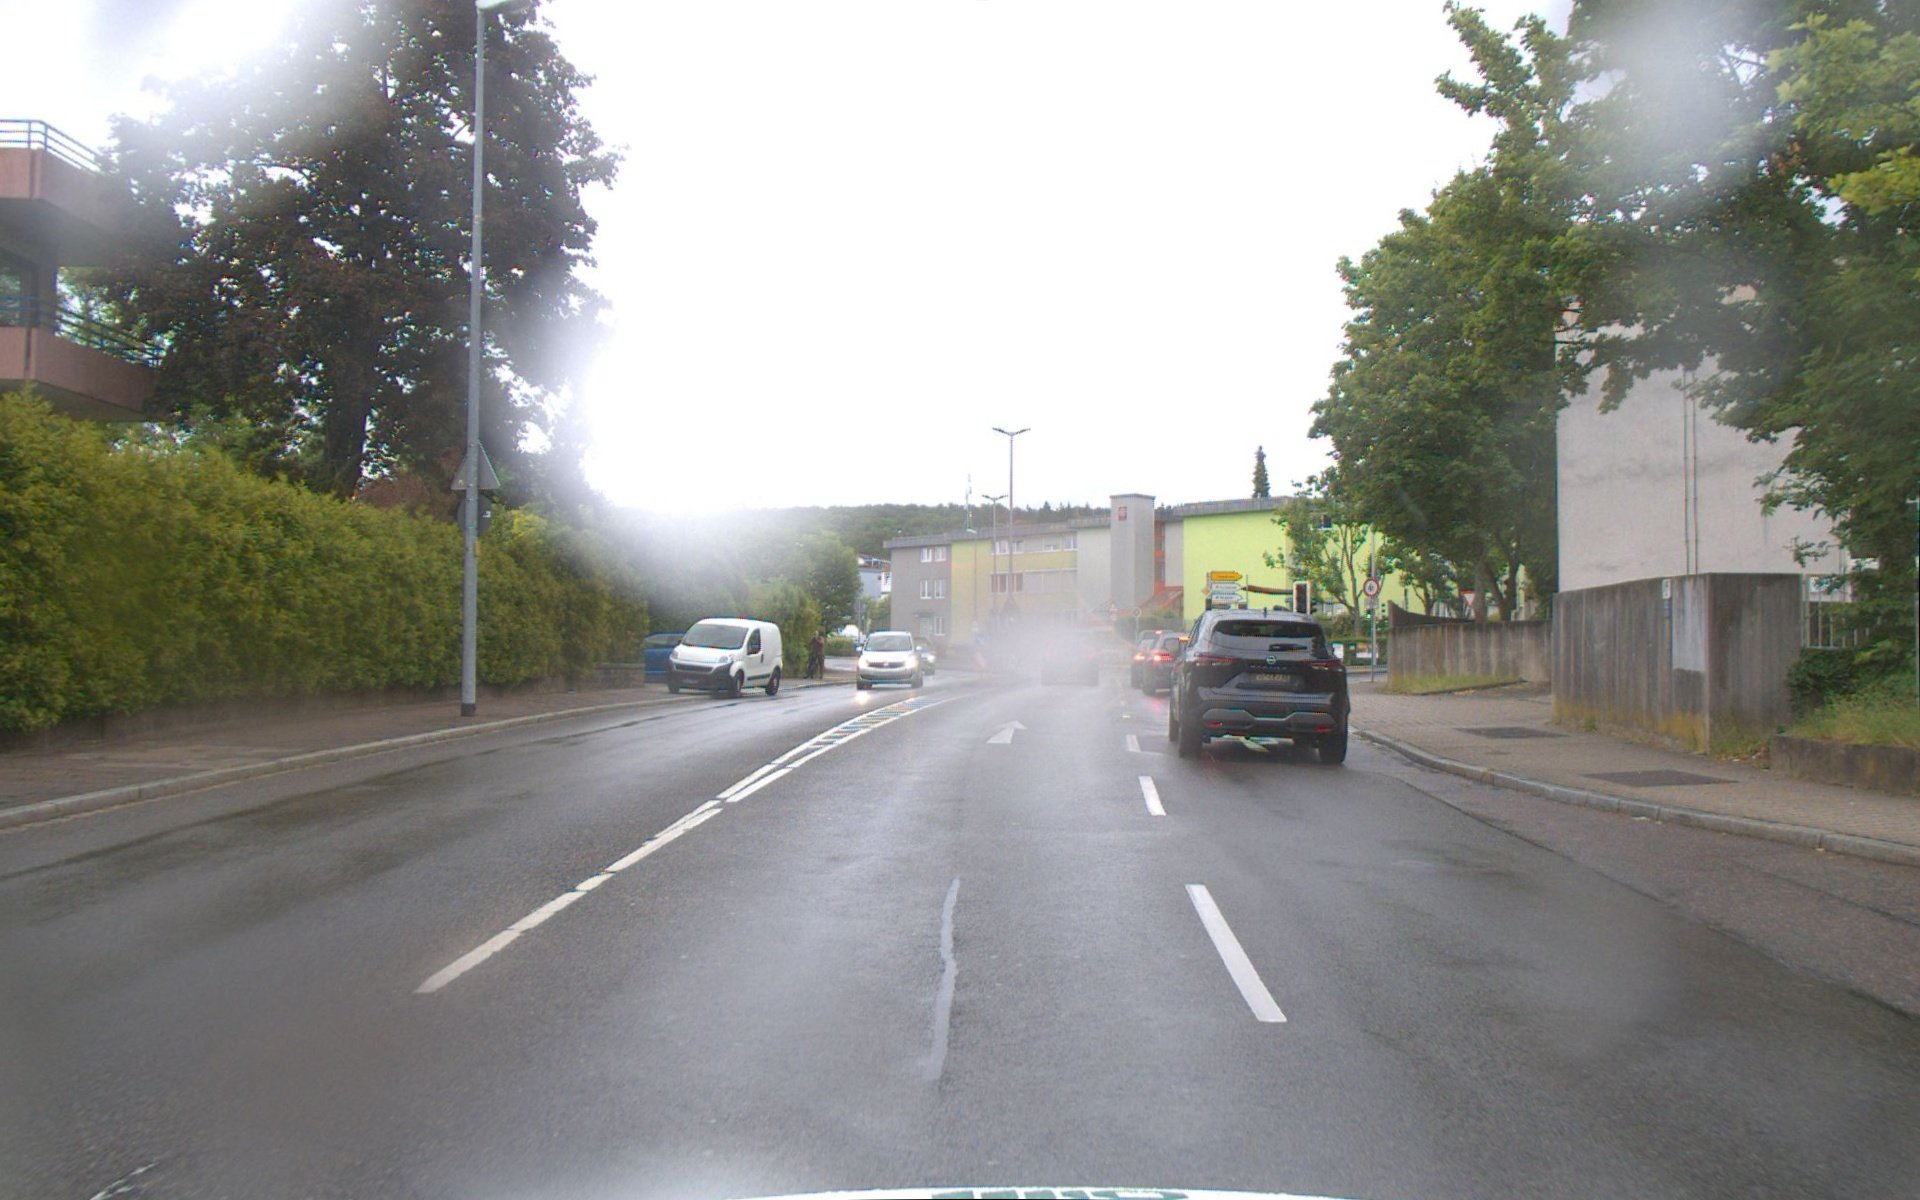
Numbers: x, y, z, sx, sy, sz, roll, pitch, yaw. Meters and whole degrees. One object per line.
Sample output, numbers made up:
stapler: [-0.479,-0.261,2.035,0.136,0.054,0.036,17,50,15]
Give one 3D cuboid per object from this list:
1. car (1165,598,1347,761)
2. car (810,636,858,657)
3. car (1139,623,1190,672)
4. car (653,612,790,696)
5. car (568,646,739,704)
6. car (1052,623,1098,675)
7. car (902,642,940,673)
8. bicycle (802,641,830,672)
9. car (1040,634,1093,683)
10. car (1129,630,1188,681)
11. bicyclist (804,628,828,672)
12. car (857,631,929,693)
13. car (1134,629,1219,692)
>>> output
car: [3.312,0.863,19.176,1.752,1.632,4.255,1,-1,6]
car: [-12.208,4.492,160.342,4.318,1.803,1.994,-2,-2,-12]
car: [7.911,1.823,64.208,1.745,1.765,4.089,1,0,5]
car: [-5.429,1.236,38.198,1.664,1.738,3.981,3,-1,14]
car: [-8.455,2.061,45.891,4.392,1.386,1.805,2,0,-2]
car: [4.374,1.848,63.062,1.681,1.877,4.088,1,-1,3]
car: [-2.252,3.363,97.061,1.999,1.746,4.481,-2,-1,1]
bicycle: [-5.338,2.104,61.463,0.731,1.105,1.990,1,-2,4]
car: [3.543,1.900,54.813,1.647,1.532,3.775,1,-1,4]
car: [6.036,1.674,50.339,1.670,1.452,4.511,-1,-2,7]
bicyclist: [-5.347,1.858,61.502,0.748,1.640,0.868,1,-2,4]
car: [-1.849,1.721,46.762,1.600,1.607,4.058,-3,-1,3]
car: [5.360,1.500,41.440,1.865,1.484,4.780,-1,-2,5]
